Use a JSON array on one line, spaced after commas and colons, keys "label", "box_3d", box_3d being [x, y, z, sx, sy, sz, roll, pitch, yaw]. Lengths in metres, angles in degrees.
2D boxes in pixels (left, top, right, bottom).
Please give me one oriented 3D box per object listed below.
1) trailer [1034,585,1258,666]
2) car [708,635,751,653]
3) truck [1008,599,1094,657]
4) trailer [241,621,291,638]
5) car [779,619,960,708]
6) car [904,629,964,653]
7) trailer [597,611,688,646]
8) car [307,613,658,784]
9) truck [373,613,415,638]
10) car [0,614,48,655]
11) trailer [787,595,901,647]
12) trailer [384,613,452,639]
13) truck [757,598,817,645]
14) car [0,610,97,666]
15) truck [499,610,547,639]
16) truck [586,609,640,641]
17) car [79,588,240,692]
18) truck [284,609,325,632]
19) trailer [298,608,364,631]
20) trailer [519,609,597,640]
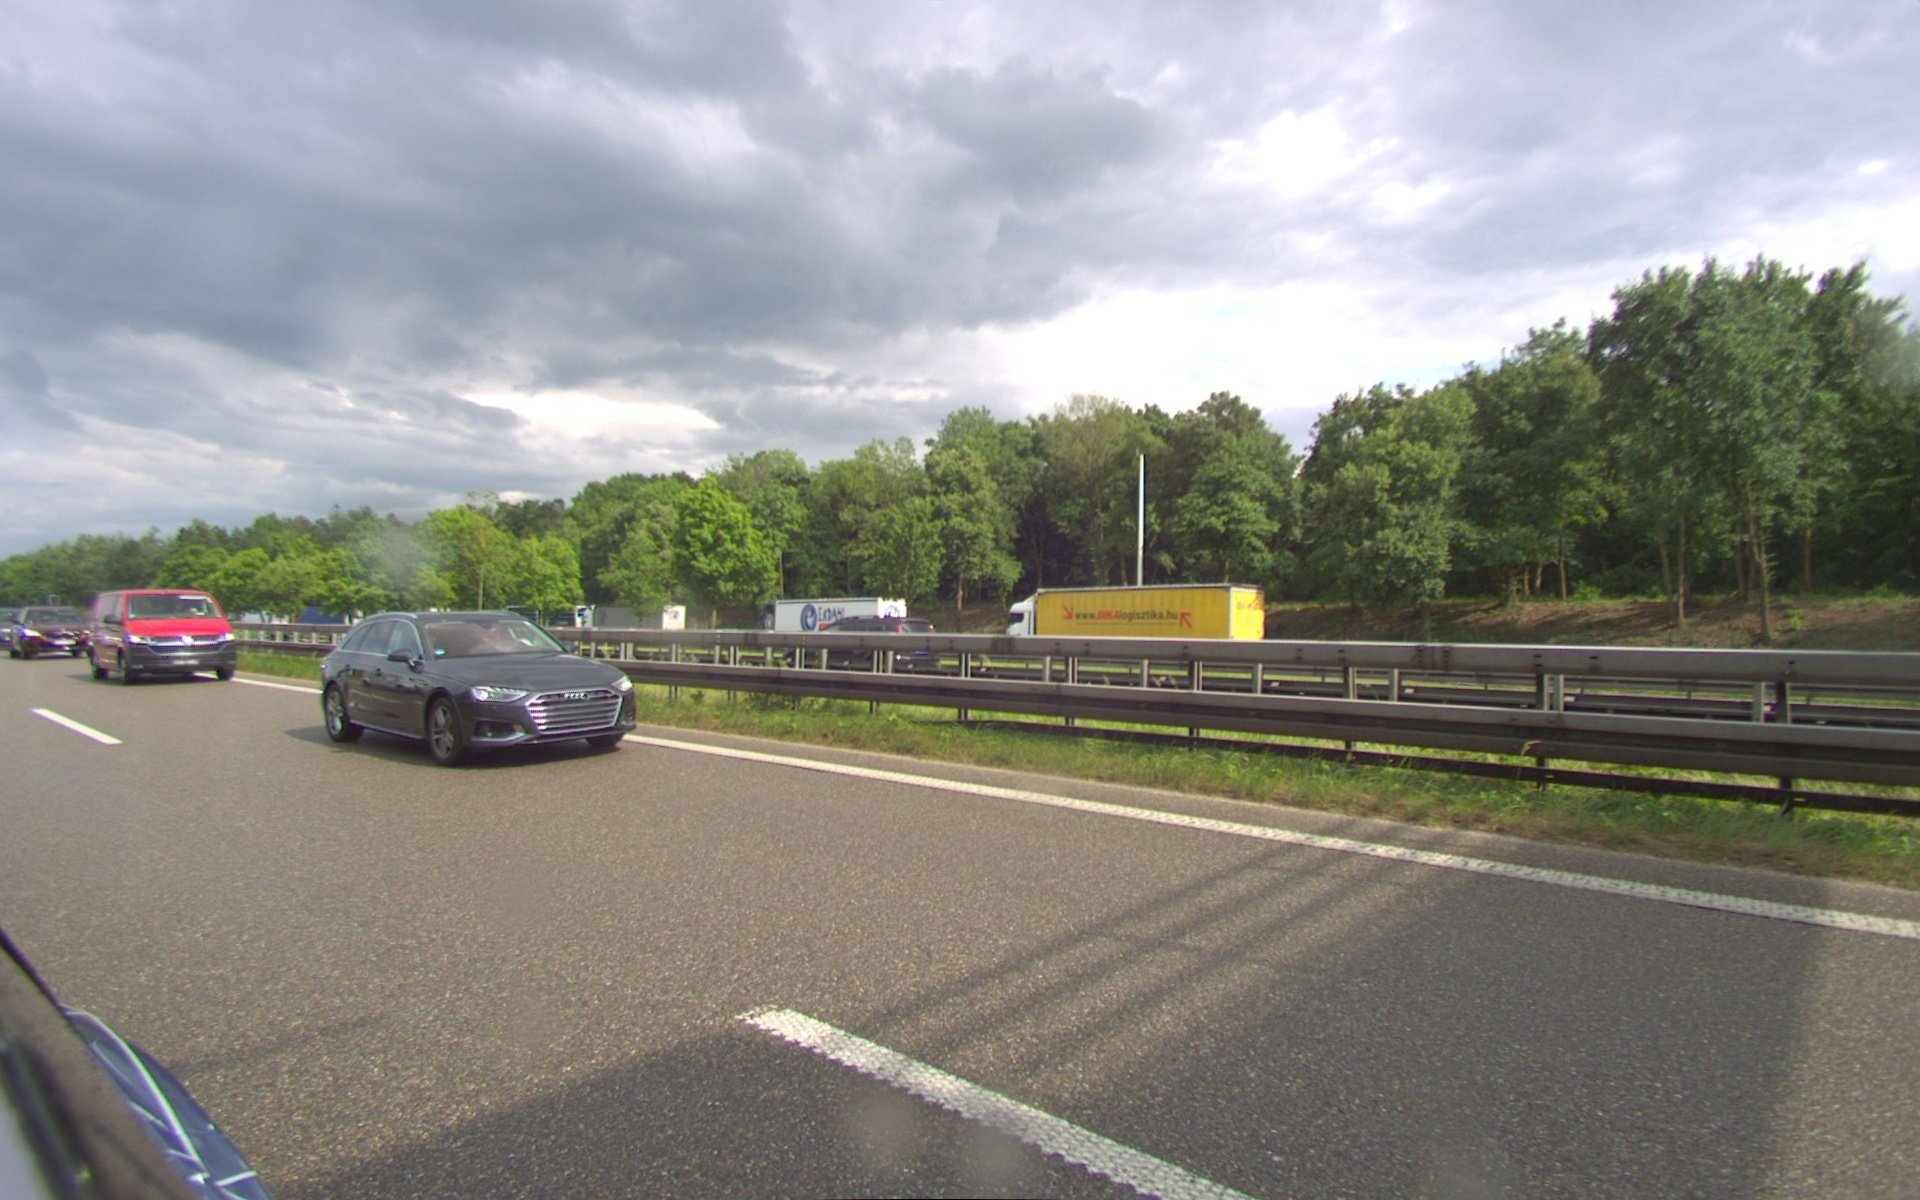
[{"label": "trailer", "box_3d": [9.086, 1.198, 52.299, 1.967, 3.722, 13.689, 0, 0, -37]}, {"label": "car", "box_3d": [-20.223, 3.865, 88.778, 1.873, 1.514, 4.002, 2, -2, -45]}, {"label": "truck", "box_3d": [5.113, 1.528, 57.652, 1.950, 3.121, 5.087, -1, 0, -37]}, {"label": "trailer", "box_3d": [-109.736, 4.680, 160.001, 9.840, 2.594, 2.511, 0, -1, 30]}, {"label": "car", "box_3d": [-2.286, 1.472, 24.933, 4.393, 1.980, 1.972, -1, -1, 42]}, {"label": "car", "box_3d": [-1.743, 2.716, 66.967, 1.871, 1.514, 4.006, 2, -2, -41]}, {"label": "trailer", "box_3d": [-31.537, 2.793, 100.091, 12.174, 3.217, 2.986, -1, -2, 43]}, {"label": "car", "box_3d": [-5.161, 0.861, 10.630, 4.465, 1.422, 1.701, -1, -1, 41]}, {"label": "truck", "box_3d": [-77.884, 3.519, 139.194, 5.385, 3.280, 3.142, 0, -3, 39]}, {"label": "car", "box_3d": [-38.140, 1.347, 40.583, 4.051, 1.578, 1.870, -1, -1, 41]}, {"label": "trailer", "box_3d": [-8.869, 1.581, 75.547, 2.156, 3.627, 11.735, 2, -2, -41]}, {"label": "trailer", "box_3d": [-72.111, 3.454, 134.545, 12.632, 3.296, 3.153, -1, -2, 39]}, {"label": "truck", "box_3d": [-13.943, 1.714, 81.272, 2.136, 3.648, 5.585, 2, -2, -41]}, {"label": "car", "box_3d": [-29.430, 1.160, 32.582, 4.292, 1.682, 1.871, -1, -1, 41]}, {"label": "truck", "box_3d": [-51.045, 2.800, 118.089, 6.532, 3.275, 2.548, 0, -2, 41]}, {"label": "truck", "box_3d": [-35.767, 2.597, 104.268, 5.597, 3.208, 3.009, -1, -2, 43]}, {"label": "car", "box_3d": [-17.279, 0.805, 21.758, 4.747, 2.000, 1.870, -1, -1, 41]}, {"label": "truck", "box_3d": [-99.436, 3.098, 153.542, 6.082, 3.280, 3.047, 0, -3, 34]}, {"label": "trailer", "box_3d": [-92.499, 2.889, 148.755, 13.376, 3.296, 3.050, 0, -2, 35]}, {"label": "trailer", "box_3d": [-44.928, 2.720, 112.766, 12.641, 3.296, 2.577, -1, -2, 41]}]
